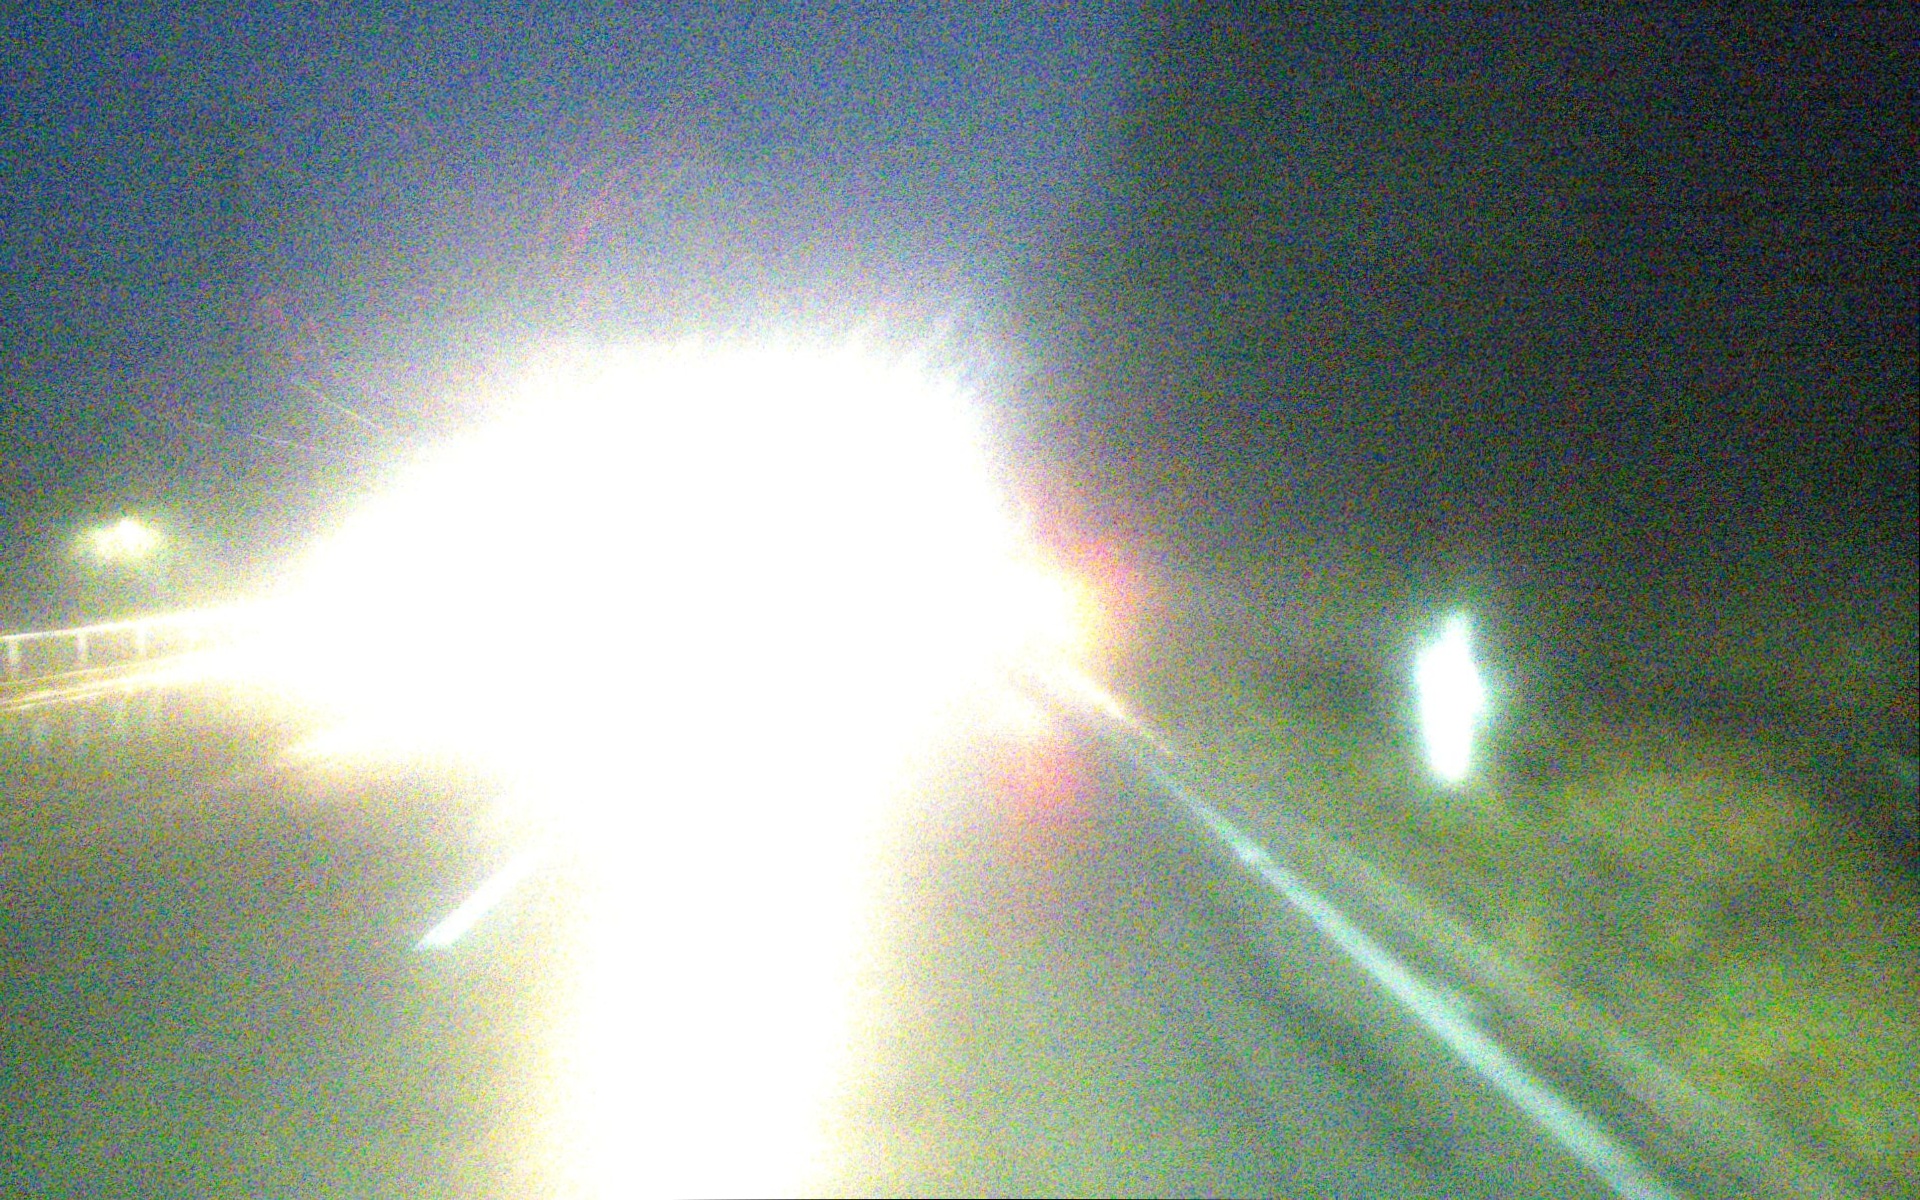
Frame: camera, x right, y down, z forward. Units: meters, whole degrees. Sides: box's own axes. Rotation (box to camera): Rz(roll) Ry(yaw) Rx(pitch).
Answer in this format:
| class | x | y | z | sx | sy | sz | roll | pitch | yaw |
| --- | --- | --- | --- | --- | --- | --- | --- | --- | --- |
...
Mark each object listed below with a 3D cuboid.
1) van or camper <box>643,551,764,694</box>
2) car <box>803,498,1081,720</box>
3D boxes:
| class | x | y | z | sx | sy | sz | roll | pitch | yaw |
| --- | --- | --- | --- | --- | --- | --- | --- | --- | --- |
| van or camper | -4.987 | 0.381 | 67.634 | 2.123 | 2.557 | 5.785 | -3 | 1 | -3 |
| car | -0.166 | 0.079 | 32.975 | 2.458 | 1.952 | 4.911 | 0 | 0 | 0 |
